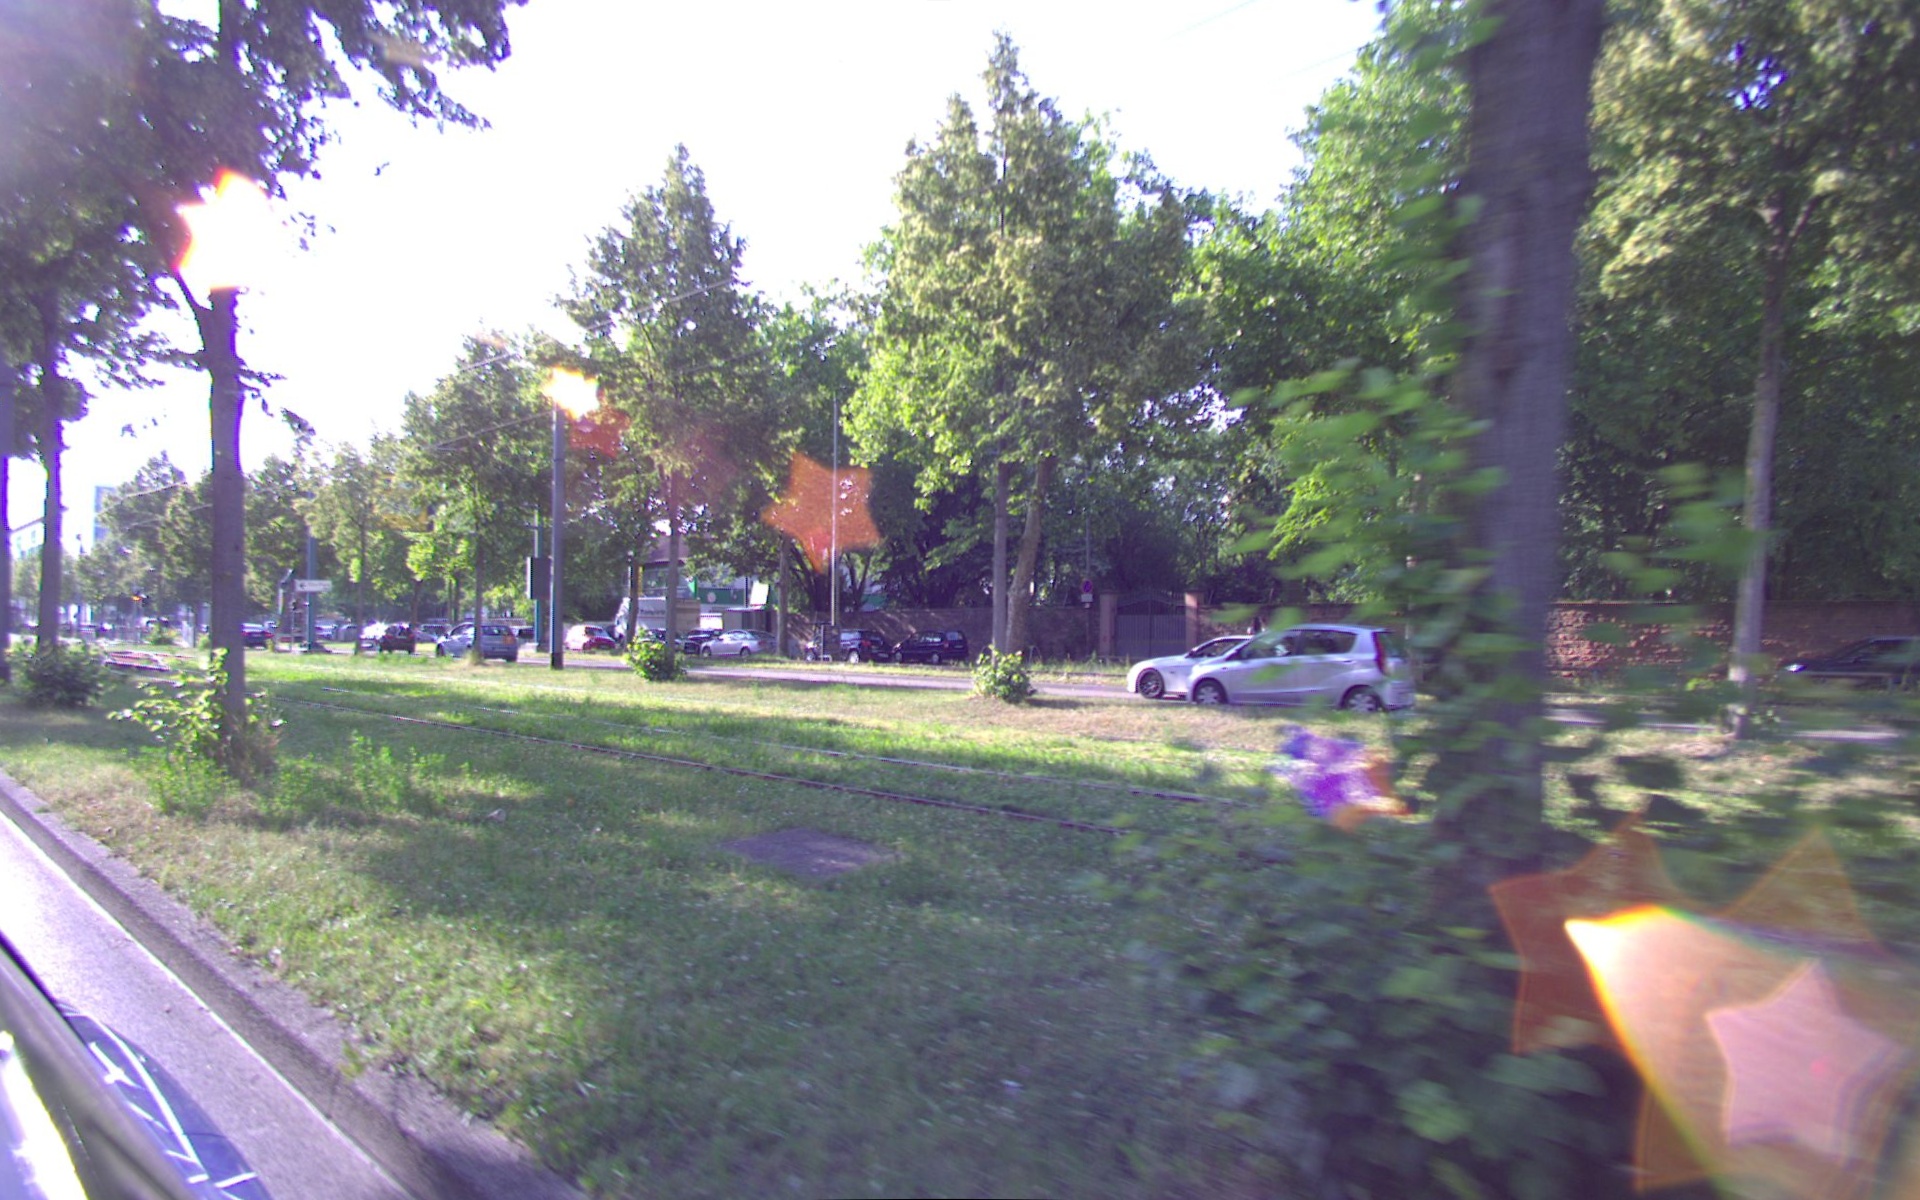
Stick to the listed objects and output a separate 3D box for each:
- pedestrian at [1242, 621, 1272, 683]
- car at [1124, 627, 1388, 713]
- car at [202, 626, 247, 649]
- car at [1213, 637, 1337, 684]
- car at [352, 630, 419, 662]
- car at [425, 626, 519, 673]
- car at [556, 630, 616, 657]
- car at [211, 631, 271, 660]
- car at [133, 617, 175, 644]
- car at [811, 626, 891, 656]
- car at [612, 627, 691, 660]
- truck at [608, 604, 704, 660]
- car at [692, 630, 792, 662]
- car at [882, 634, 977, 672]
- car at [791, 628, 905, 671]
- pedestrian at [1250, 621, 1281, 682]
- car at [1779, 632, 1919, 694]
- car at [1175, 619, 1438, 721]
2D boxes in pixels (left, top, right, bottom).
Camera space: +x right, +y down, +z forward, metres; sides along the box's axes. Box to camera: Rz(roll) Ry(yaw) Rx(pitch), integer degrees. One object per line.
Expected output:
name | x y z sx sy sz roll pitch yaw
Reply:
pedestrian | 7.252 1.259 24.713 0.601 1.487 0.382 -1 0 40
car | 5.804 1.334 20.241 4.810 1.487 1.664 -1 -4 41
car | -50.581 2.545 69.591 3.927 1.536 1.664 -1 -1 40
car | 11.212 2.112 36.165 3.911 1.453 1.699 -1 0 43
car | -28.648 2.246 50.431 4.033 1.446 1.664 -1 0 41
car | -17.913 1.767 37.106 4.130 1.544 1.594 -1 0 41
car | -19.988 2.285 54.009 1.564 1.286 3.963 -1 0 -43
car | -40.063 2.530 56.370 4.668 1.446 1.664 -1 0 41
car | -59.654 2.239 74.891 4.215 1.878 1.664 -1 0 40
car | -5.659 2.094 52.063 4.387 1.386 1.678 -1 0 44
car | -14.454 2.007 47.387 3.957 1.442 1.654 -1 0 40
truck | -20.804 2.119 68.947 2.855 3.542 7.949 -1 0 -45
car | -9.543 1.970 44.067 4.899 1.253 1.658 -1 0 42
car | -1.484 2.481 48.146 4.473 1.624 1.811 -1 0 42
car | -4.311 1.836 38.624 4.473 1.442 1.811 -1 0 42
pedestrian | 7.580 1.269 25.114 0.601 1.487 0.382 -1 0 40
car | 23.700 1.579 25.682 4.350 1.453 1.771 -1 0 35
car | 5.494 1.035 16.278 3.694 1.403 1.567 -1 0 41
